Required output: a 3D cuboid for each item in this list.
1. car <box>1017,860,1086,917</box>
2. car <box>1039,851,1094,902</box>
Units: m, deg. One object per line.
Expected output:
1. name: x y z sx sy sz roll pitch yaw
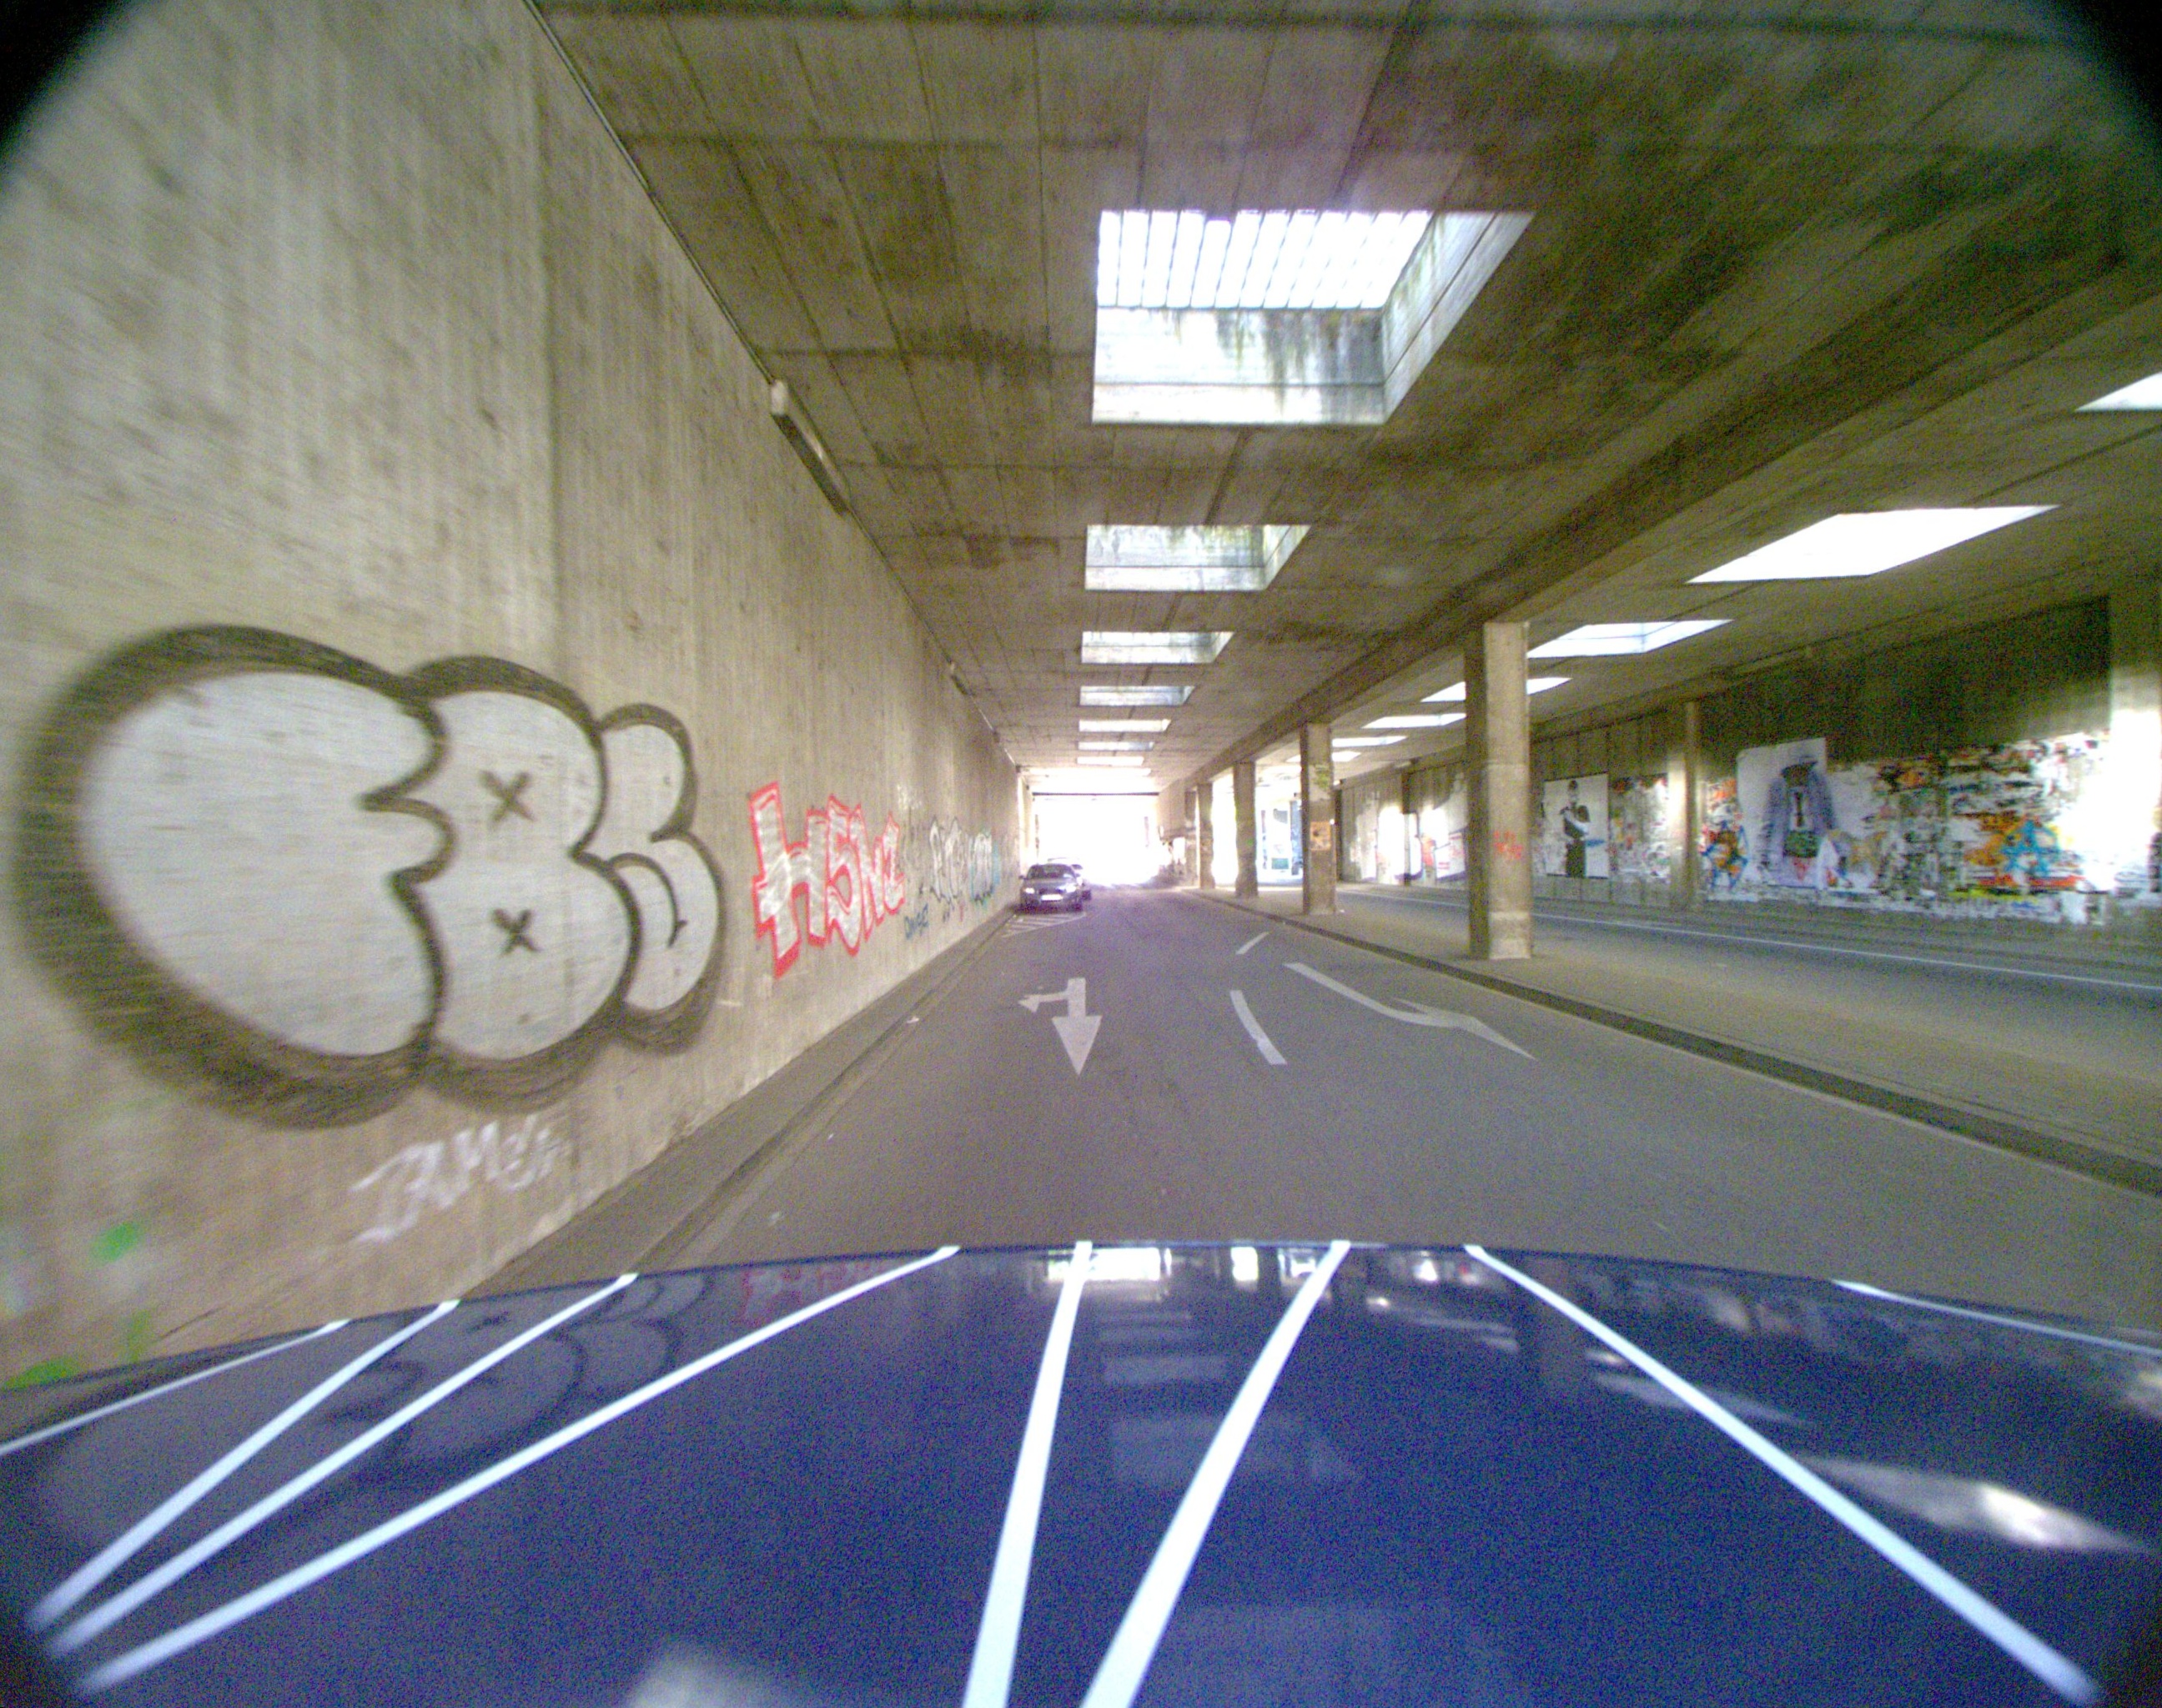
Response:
1. car: -0.781 0.946 22.646 1.808 1.460 4.000 -2 0 1
2. car: -0.476 0.794 28.315 1.861 1.709 4.000 -2 0 1
